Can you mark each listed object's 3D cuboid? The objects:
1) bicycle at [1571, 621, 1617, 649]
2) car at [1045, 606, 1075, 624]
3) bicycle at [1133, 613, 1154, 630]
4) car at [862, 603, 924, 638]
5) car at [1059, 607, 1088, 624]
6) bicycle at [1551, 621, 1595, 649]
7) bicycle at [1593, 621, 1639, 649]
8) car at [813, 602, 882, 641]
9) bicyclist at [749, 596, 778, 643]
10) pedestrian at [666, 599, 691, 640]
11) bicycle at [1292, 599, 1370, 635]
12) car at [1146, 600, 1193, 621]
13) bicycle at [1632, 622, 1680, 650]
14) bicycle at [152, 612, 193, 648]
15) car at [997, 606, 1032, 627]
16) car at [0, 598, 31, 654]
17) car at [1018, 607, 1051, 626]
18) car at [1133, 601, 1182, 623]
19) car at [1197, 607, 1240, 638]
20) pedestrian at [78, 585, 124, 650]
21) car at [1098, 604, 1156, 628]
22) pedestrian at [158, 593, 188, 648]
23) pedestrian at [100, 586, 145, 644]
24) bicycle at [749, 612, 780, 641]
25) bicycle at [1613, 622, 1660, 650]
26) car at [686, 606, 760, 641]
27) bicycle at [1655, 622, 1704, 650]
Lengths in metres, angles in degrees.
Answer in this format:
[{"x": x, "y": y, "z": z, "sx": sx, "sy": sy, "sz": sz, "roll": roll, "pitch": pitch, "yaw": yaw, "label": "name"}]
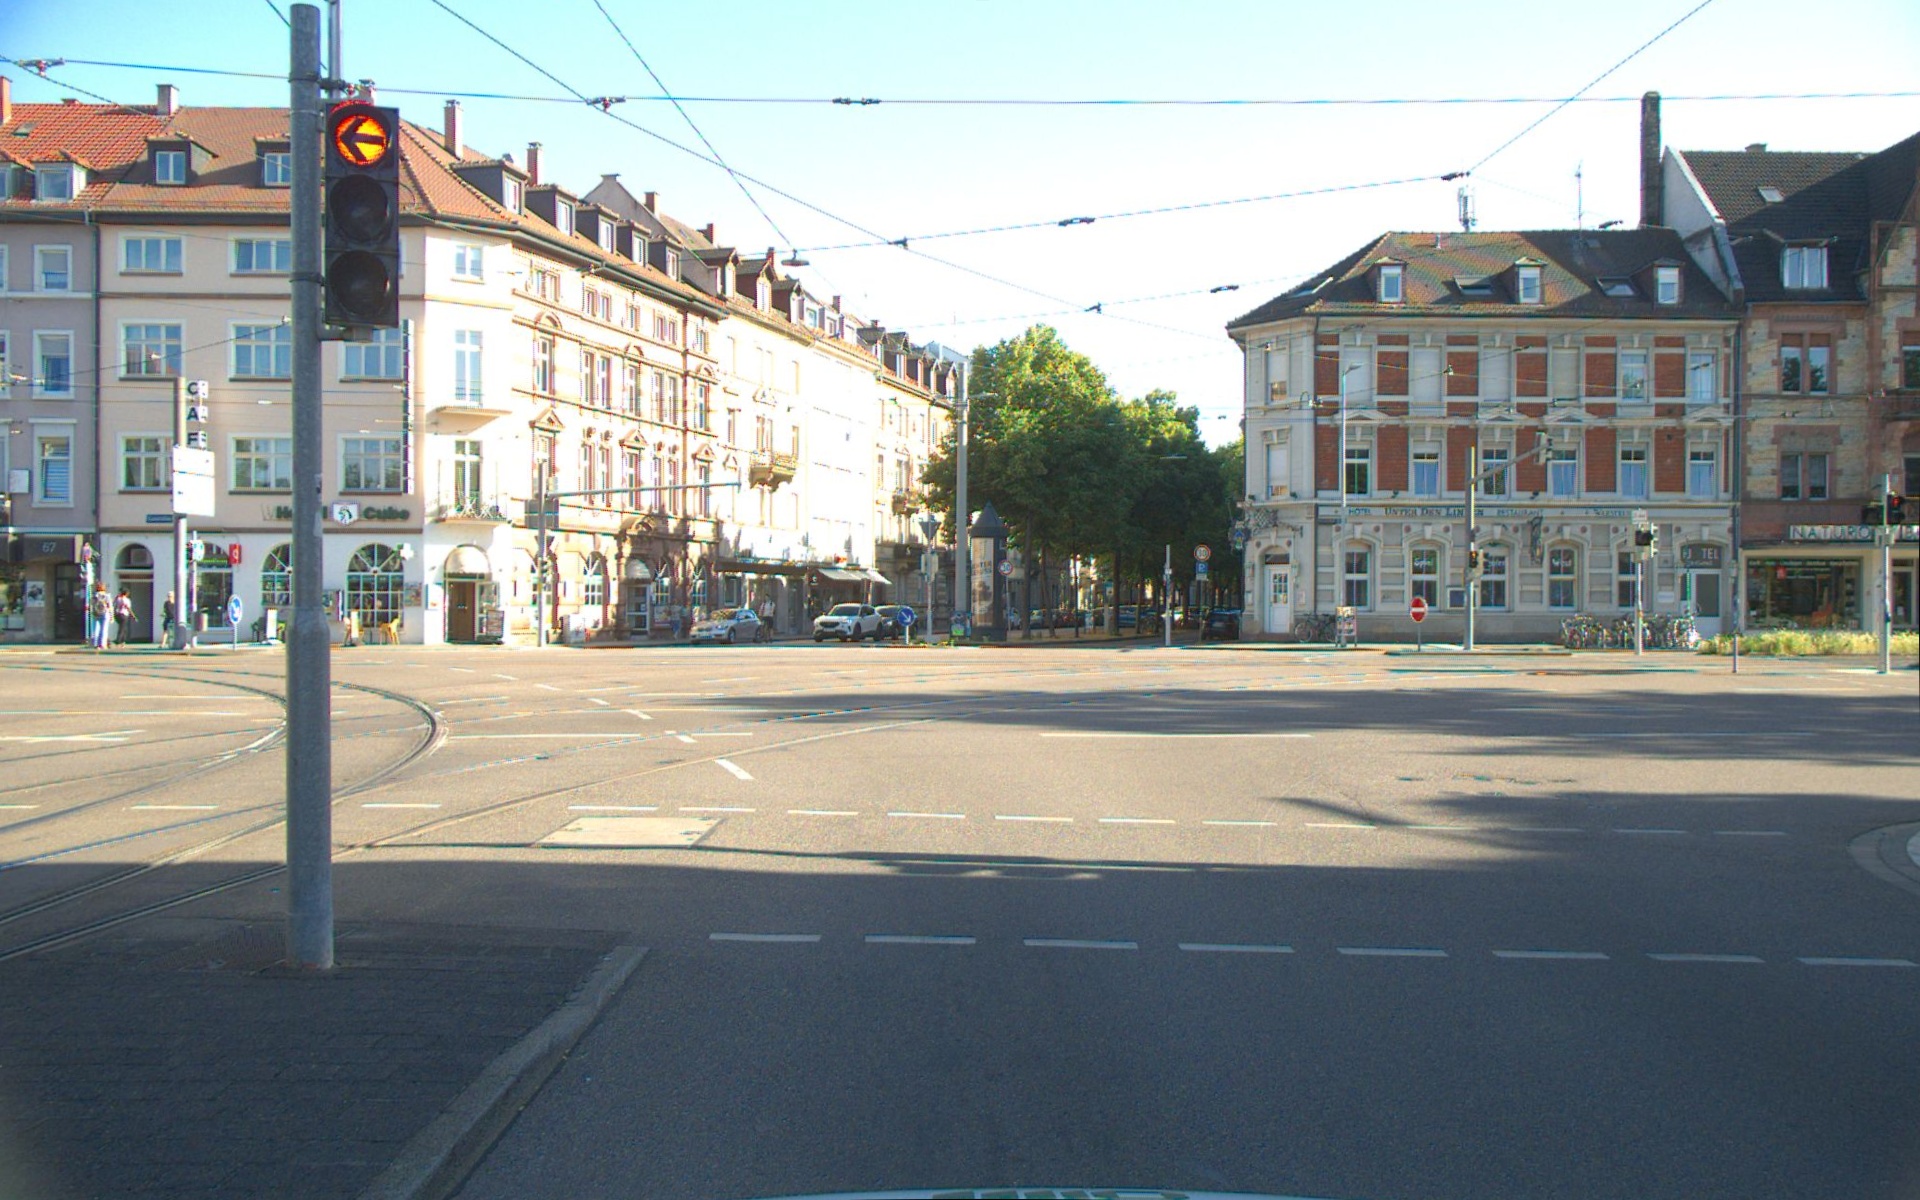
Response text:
[{"x": 20.479, "y": 1.118, "z": 53.452, "sx": 0.645, "sy": 0.855, "sz": 2.160, "roll": 1, "pitch": 0, "yaw": 1, "label": "bicycle"}, {"x": 7.894, "y": 1.204, "z": 130.842, "sx": 1.642, "sy": 1.378, "sz": 3.593, "roll": 0, "pitch": 0, "yaw": 16, "label": "car"}, {"x": 11.052, "y": 1.288, "z": 99.625, "sx": 0.625, "sy": 1.039, "sz": 1.840, "roll": 1, "pitch": 0, "yaw": -14, "label": "bicycle"}, {"x": -2.949, "y": 0.882, "z": 73.550, "sx": 1.642, "sy": 1.509, "sz": 3.950, "roll": 0, "pitch": 0, "yaw": 16, "label": "car"}, {"x": 9.319, "y": 1.240, "z": 135.893, "sx": 1.642, "sy": 1.378, "sz": 3.593, "roll": 0, "pitch": 0, "yaw": 16, "label": "car"}, {"x": 19.760, "y": 1.105, "z": 53.365, "sx": 0.645, "sy": 0.855, "sz": 2.160, "roll": 1, "pitch": 0, "yaw": 1, "label": "bicycle"}, {"x": 21.191, "y": 1.130, "z": 53.465, "sx": 0.645, "sy": 0.855, "sz": 2.160, "roll": 1, "pitch": 0, "yaw": 1, "label": "bicycle"}, {"x": -4.536, "y": 0.838, "z": 67.225, "sx": 1.642, "sy": 1.509, "sz": 3.774, "roll": 0, "pitch": 0, "yaw": 16, "label": "car"}, {"x": -7.715, "y": 0.761, "z": 65.002, "sx": 0.761, "sy": 1.834, "sz": 1.056, "roll": 1, "pitch": -1, "yaw": 13, "label": "bicyclist"}, {"x": -11.869, "y": 0.820, "z": 69.779, "sx": 0.759, "sy": 1.699, "sz": 0.831, "roll": 1, "pitch": -1, "yaw": 15, "label": "pedestrian"}, {"x": 12.865, "y": 0.585, "z": 57.455, "sx": 2.504, "sy": 1.194, "sz": 0.818, "roll": 1, "pitch": -1, "yaw": -4, "label": "bicycle"}, {"x": 16.944, "y": 0.875, "z": 133.744, "sx": 3.503, "sy": 1.677, "sz": 1.684, "roll": 0, "pitch": 0, "yaw": 16, "label": "car"}, {"x": 22.489, "y": 1.152, "z": 53.478, "sx": 0.645, "sy": 0.855, "sz": 2.160, "roll": 1, "pitch": 0, "yaw": 1, "label": "bicycle"}, {"x": -24.710, "y": 0.932, "z": 51.942, "sx": 0.561, "sy": 1.096, "sz": 1.497, "roll": 1, "pitch": 0, "yaw": -1, "label": "bicycle"}, {"x": 3.823, "y": 1.149, "z": 115.513, "sx": 1.642, "sy": 1.378, "sz": 3.593, "roll": 0, "pitch": 0, "yaw": 16, "label": "car"}, {"x": -32.153, "y": 0.785, "z": 52.256, "sx": 4.276, "sy": 1.741, "sz": 2.306, "roll": 1, "pitch": 0, "yaw": 1, "label": "car"}, {"x": 5.535, "y": 1.206, "z": 122.500, "sx": 1.642, "sy": 1.378, "sz": 3.593, "roll": 0, "pitch": 0, "yaw": 16, "label": "car"}, {"x": 15.321, "y": 0.949, "z": 128.244, "sx": 3.503, "sy": 1.677, "sz": 1.684, "roll": 0, "pitch": 0, "yaw": 16, "label": "car"}, {"x": 12.958, "y": 1.100, "z": 82.746, "sx": 1.642, "sy": 1.509, "sz": 3.950, "roll": 0, "pitch": 0, "yaw": 16, "label": "car"}, {"x": -21.432, "y": 0.437, "z": 41.265, "sx": 0.539, "sy": 1.605, "sz": 0.832, "roll": 1, "pitch": -1, "yaw": 27, "label": "pedestrian"}, {"x": 11.716, "y": 1.107, "z": 115.832, "sx": 3.819, "sy": 1.677, "sz": 1.684, "roll": 0, "pitch": 0, "yaw": 16, "label": "car"}, {"x": -24.708, "y": 0.632, "z": 51.933, "sx": 0.570, "sy": 1.699, "sz": 0.752, "roll": 1, "pitch": -1, "yaw": -1, "label": "pedestrian"}, {"x": -23.690, "y": 0.421, "z": 46.788, "sx": 0.710, "sy": 1.605, "sz": 0.833, "roll": 1, "pitch": -1, "yaw": 20, "label": "pedestrian"}, {"x": -7.682, "y": 1.042, "z": 65.125, "sx": 0.687, "sy": 1.137, "sz": 1.636, "roll": 1, "pitch": 0, "yaw": 13, "label": "bicycle"}, {"x": 21.862, "y": 1.142, "z": 53.499, "sx": 0.645, "sy": 0.855, "sz": 2.160, "roll": 1, "pitch": 0, "yaw": 1, "label": "bicycle"}, {"x": -9.541, "y": 0.928, "z": 66.744, "sx": 1.642, "sy": 1.378, "sz": 3.593, "roll": 0, "pitch": 0, "yaw": 16, "label": "car"}, {"x": 23.278, "y": 1.166, "z": 53.524, "sx": 0.645, "sy": 0.855, "sz": 2.160, "roll": 1, "pitch": 0, "yaw": 1, "label": "bicycle"}]
